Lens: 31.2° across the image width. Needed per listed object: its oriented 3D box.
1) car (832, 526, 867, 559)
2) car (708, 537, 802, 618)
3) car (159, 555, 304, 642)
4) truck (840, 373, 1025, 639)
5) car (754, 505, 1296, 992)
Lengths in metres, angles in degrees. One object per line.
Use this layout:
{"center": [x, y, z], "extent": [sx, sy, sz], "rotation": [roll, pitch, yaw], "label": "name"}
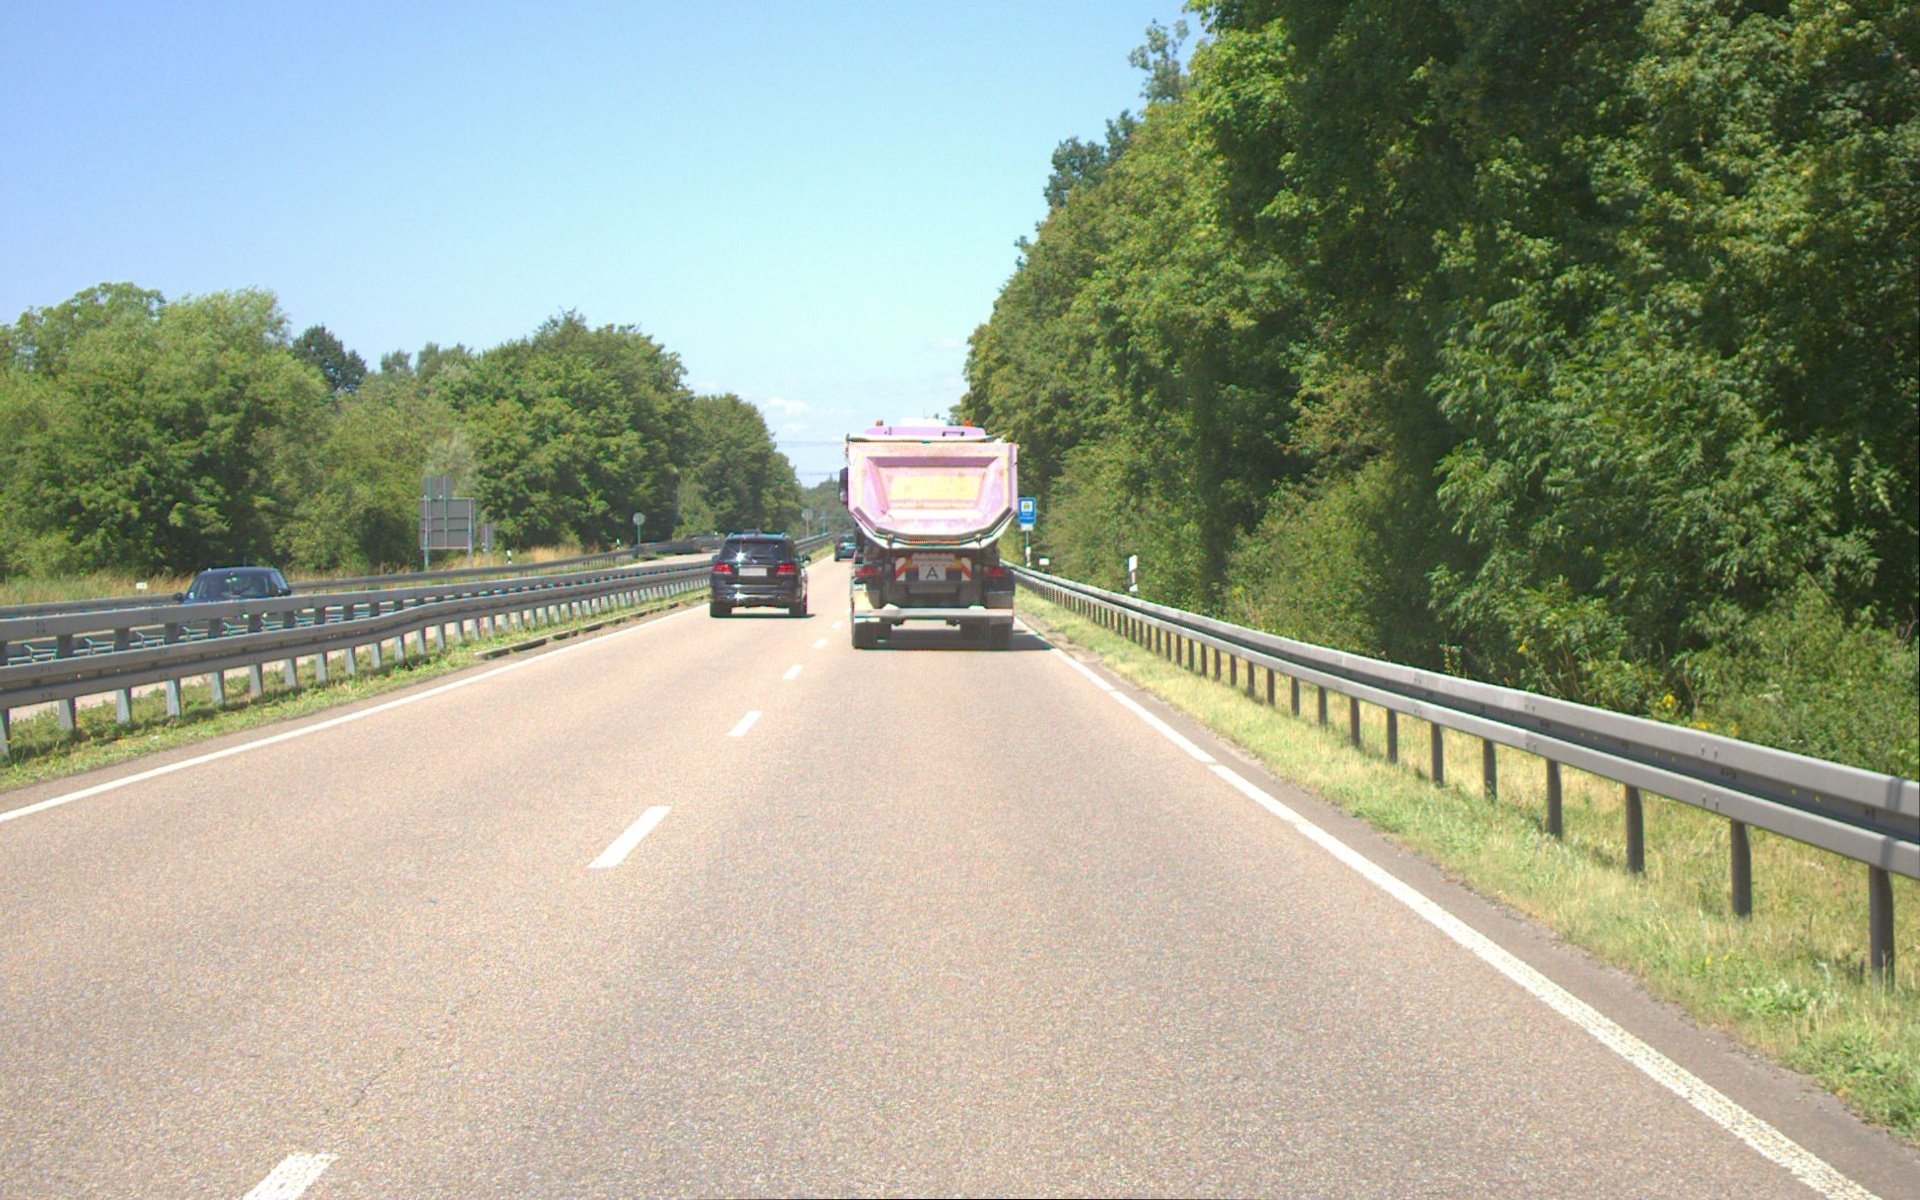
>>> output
{"center": [-5.957, -3.122, 186.152], "extent": [1.857, 1.712, 4.000], "rotation": [0, 0, -2], "label": "car"}
{"center": [-4.320, -0.465, 72.858], "extent": [1.857, 1.665, 4.000], "rotation": [0, 0, -2], "label": "car"}
{"center": [-11.706, -0.050, 55.429], "extent": [1.628, 1.327, 3.536], "rotation": [0, 1, -1], "label": "car"}
{"center": [-0.568, -1.537, 56.712], "extent": [2.720, 3.916, 12.371], "rotation": [0, 1, -1], "label": "truck"}
{"center": [0.168, 0.515, 13.800], "extent": [1.857, 1.665, 4.000], "rotation": [0, 0, -2], "label": "car"}
